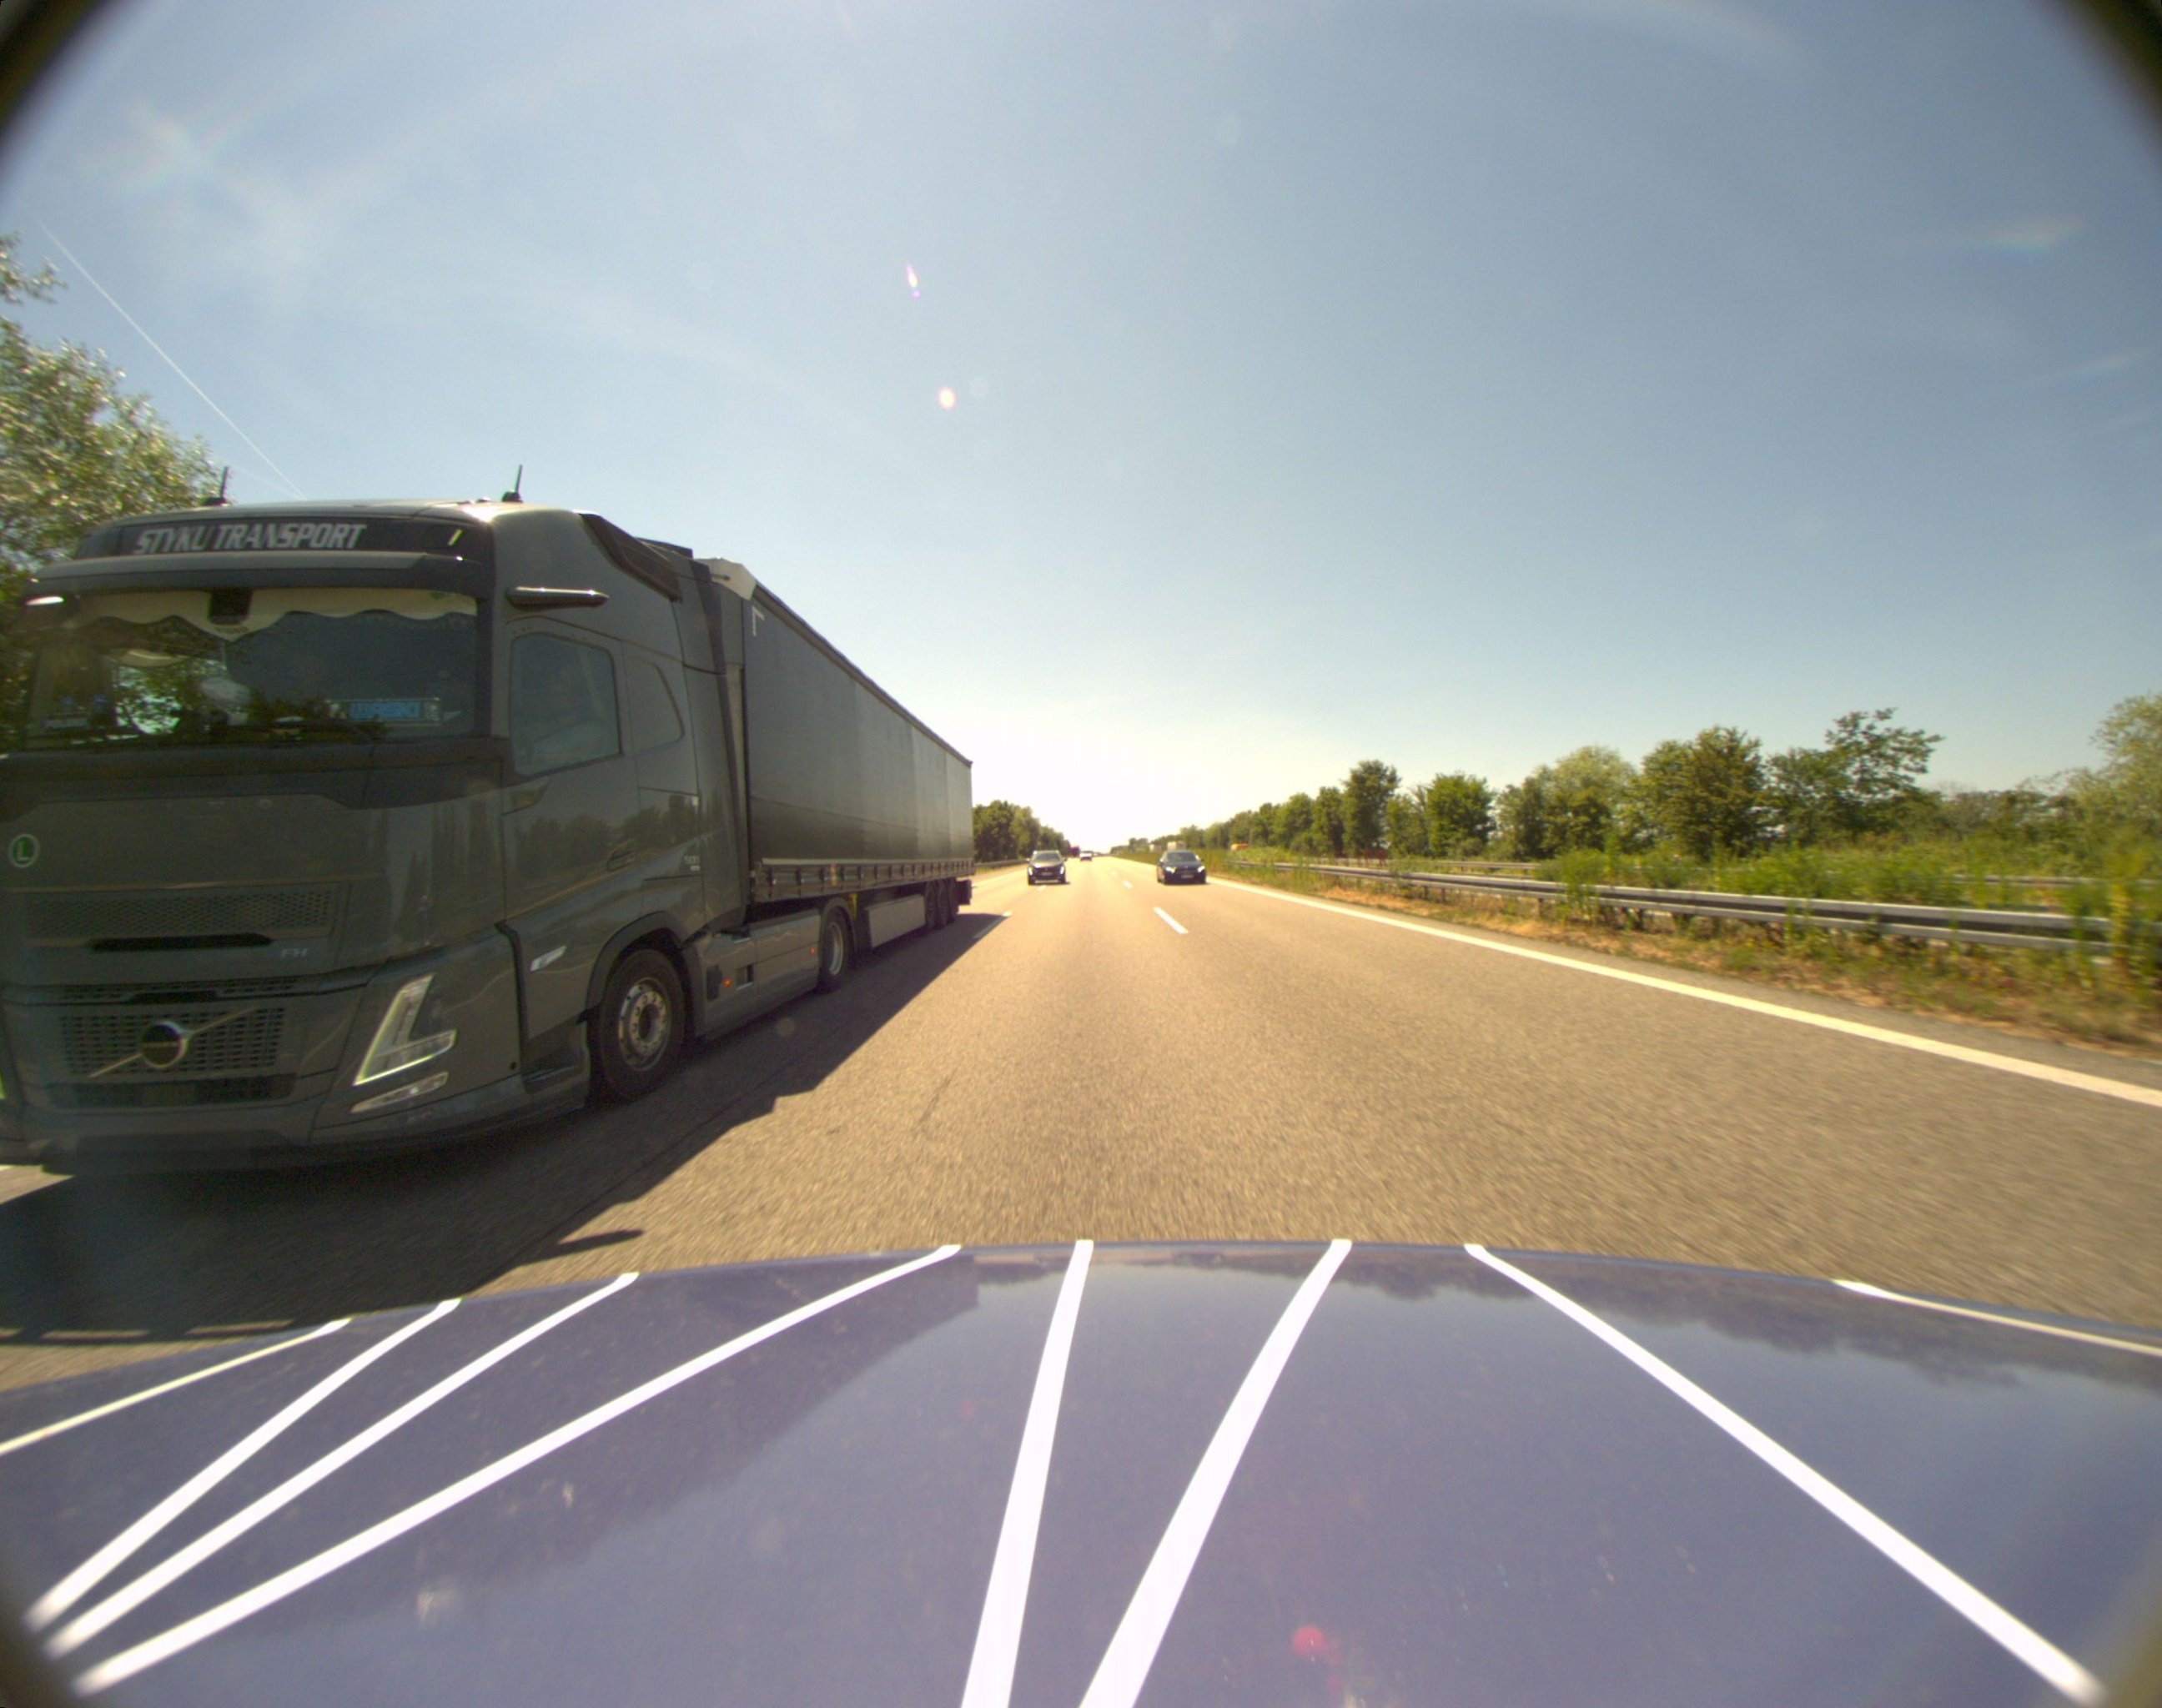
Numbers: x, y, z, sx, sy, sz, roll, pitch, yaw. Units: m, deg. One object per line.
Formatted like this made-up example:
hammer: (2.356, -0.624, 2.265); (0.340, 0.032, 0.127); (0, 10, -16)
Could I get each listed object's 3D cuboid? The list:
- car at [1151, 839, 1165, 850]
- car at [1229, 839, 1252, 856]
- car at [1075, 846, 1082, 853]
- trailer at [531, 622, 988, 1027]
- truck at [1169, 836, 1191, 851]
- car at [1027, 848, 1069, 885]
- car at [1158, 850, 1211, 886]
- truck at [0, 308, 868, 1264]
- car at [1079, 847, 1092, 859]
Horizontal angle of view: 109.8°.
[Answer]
car: (24.582, -2.961, 242.940); (3.516, 3.274, 8.513); (-2, 1, 0)
car: (22.695, -0.916, 108.339); (2.187, 2.423, 4.955); (1, 1, 0)
car: (-0.700, -1.299, 234.186); (1.998, 2.002, 4.000); (-2, 1, 1)
trailer: (-4.001, -0.332, 14.281); (2.559, 3.931, 13.537); (-2, 0, 1)
truck: (24.141, -2.549, 186.523); (4.121, 3.418, 10.688); (-2, 1, 1)
car: (-1.576, 0.562, 37.490); (1.796, 1.696, 4.000); (-2, 1, 1)
car: (4.453, 0.553, 33.142); (1.796, 1.403, 4.052); (-2, 1, 1)
truck: (-4.097, -0.270, 6.432); (2.559, 3.932, 6.513); (-2, 1, 1)
car: (0.739, -0.201, 125.918); (2.147, 1.810, 5.267); (-2, 0, 1)
